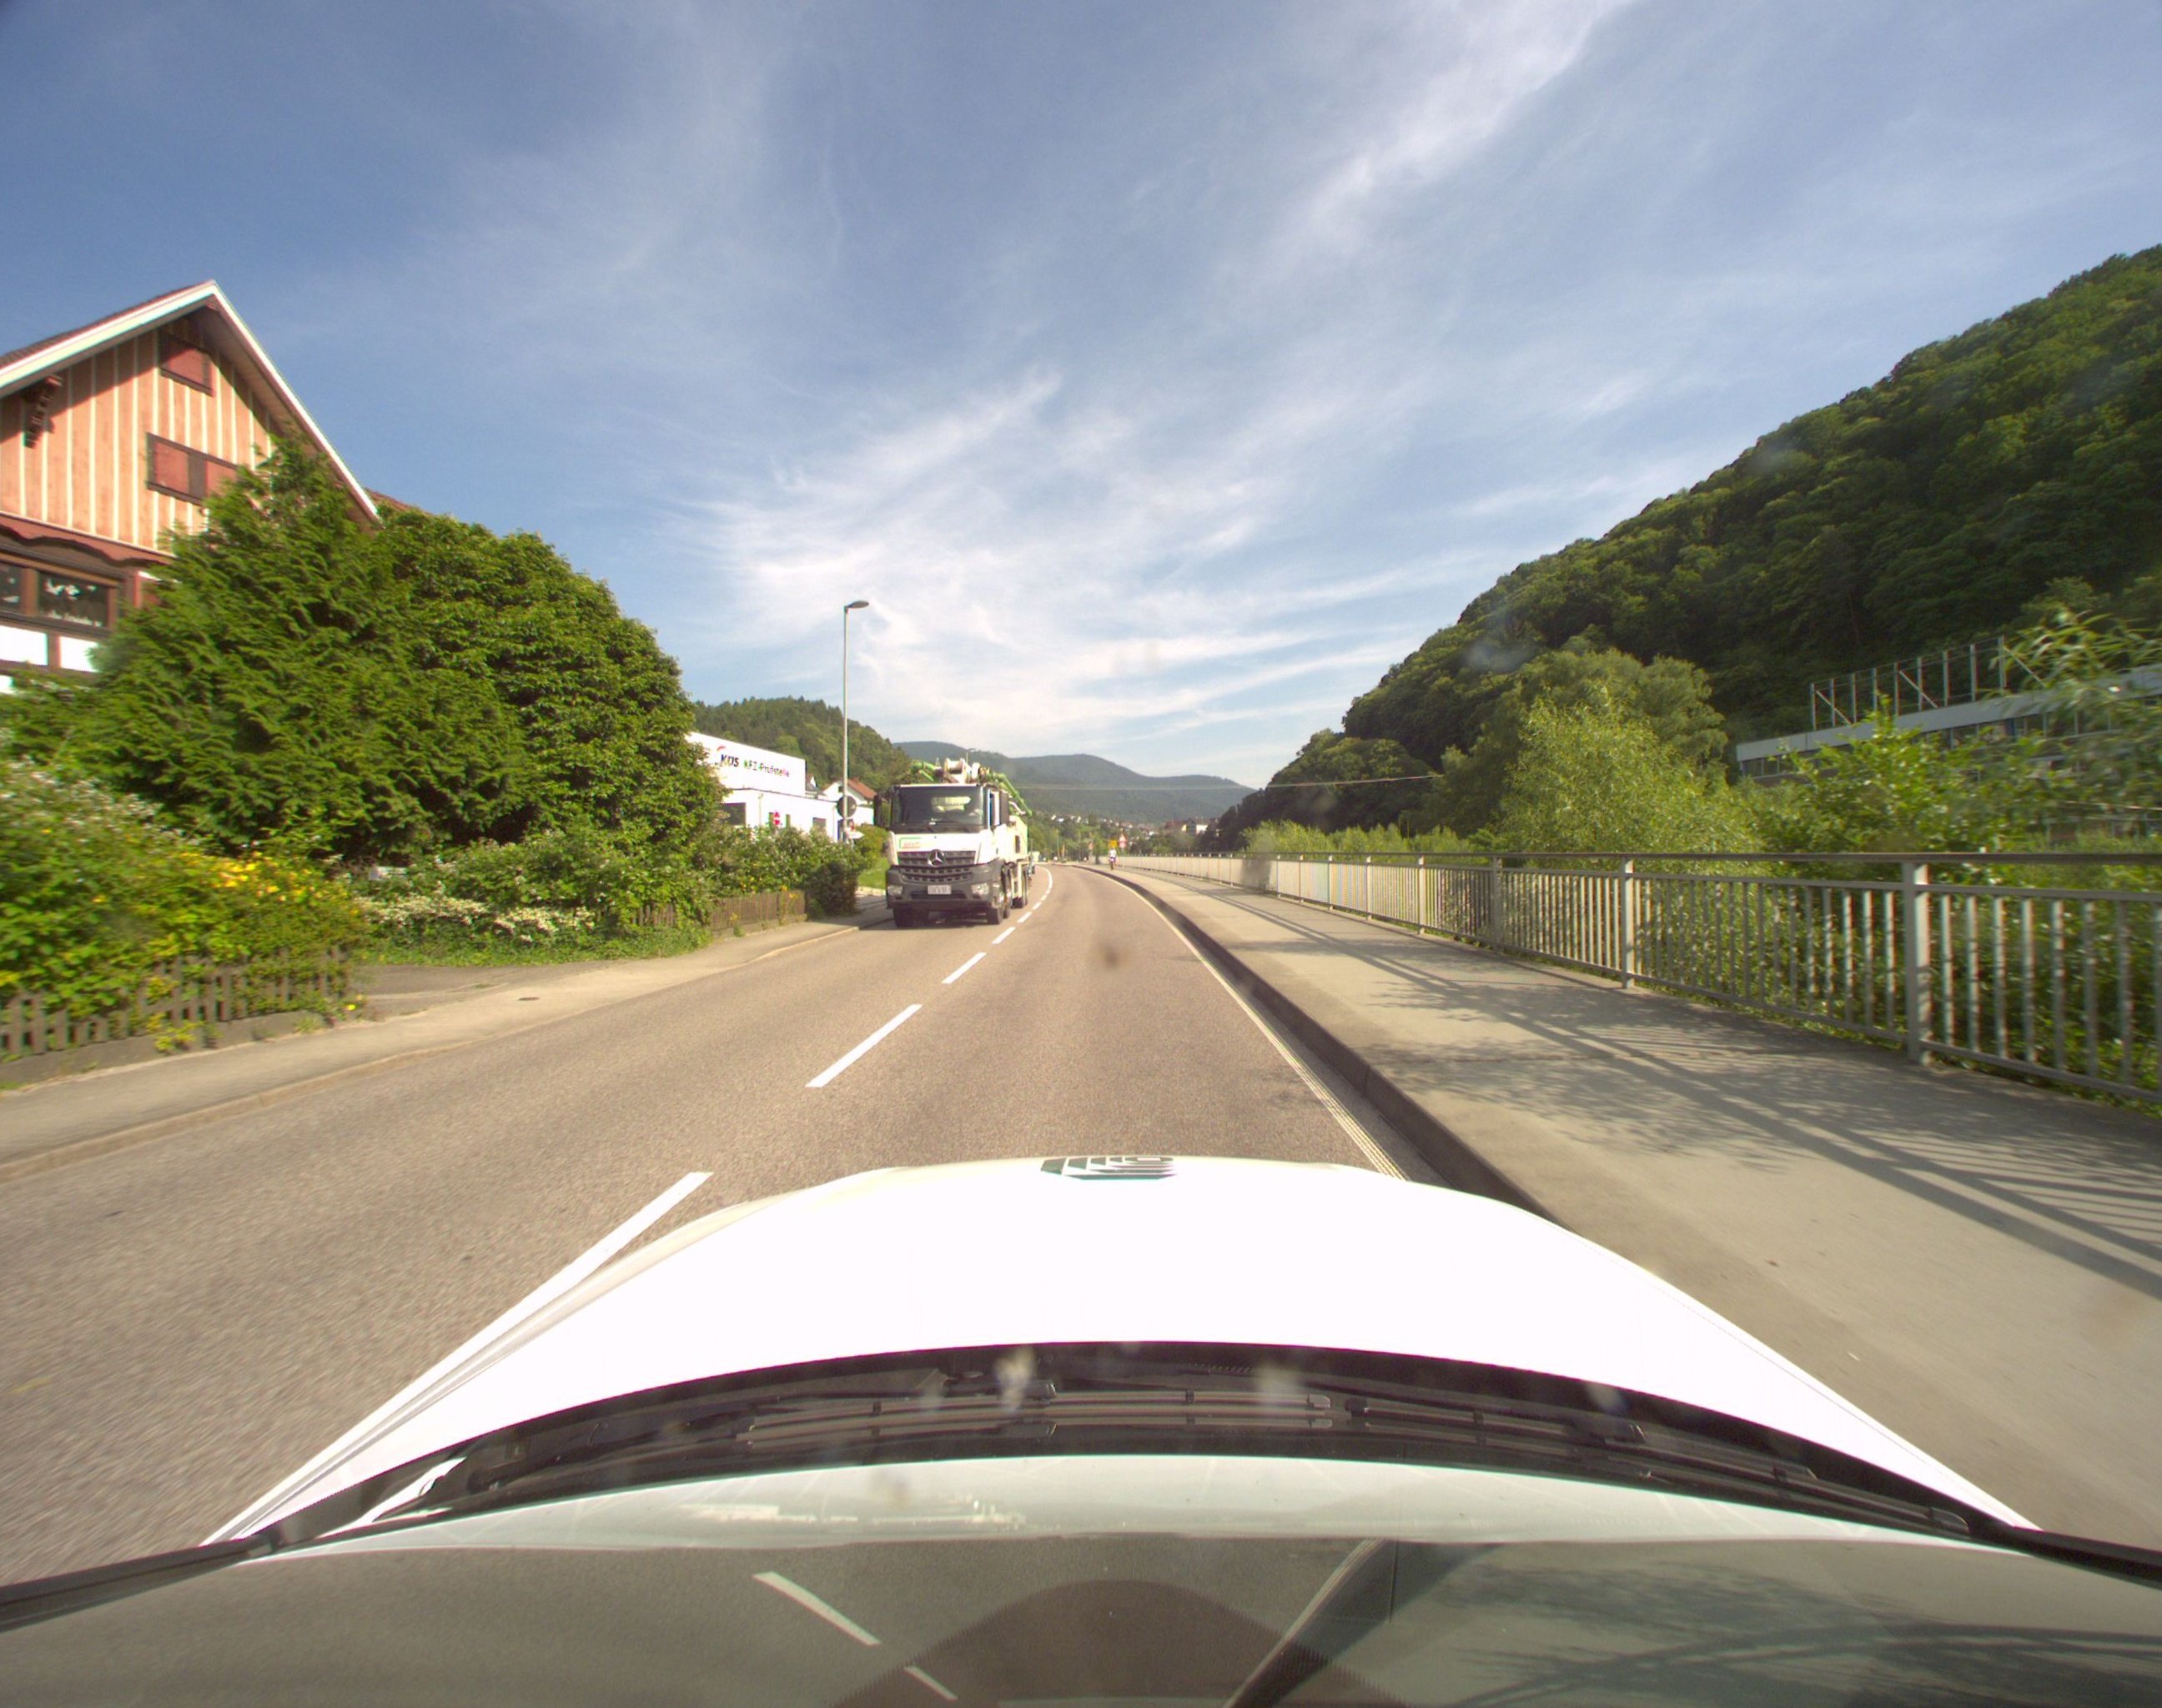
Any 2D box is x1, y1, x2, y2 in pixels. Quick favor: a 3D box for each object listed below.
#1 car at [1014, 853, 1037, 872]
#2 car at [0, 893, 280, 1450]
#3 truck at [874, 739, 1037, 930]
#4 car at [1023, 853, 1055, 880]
[{"bbox_3d":[-4.442,0.664,65.691,1.739,1.526,3.997,1,0,-2],"label":"car"},{"bbox_3d":[-3.682,0.826,0.820,1.707,1.403,4.001,-1,-1,2],"label":"car"},{"bbox_3d":[-2.928,-0.385,22.623,2.569,3.931,11.305,-1,0,1],"label":"truck"},{"bbox_3d":[-2.563,0.722,50.229,1.744,1.504,4.189,-3,0,0],"label":"car"}]
